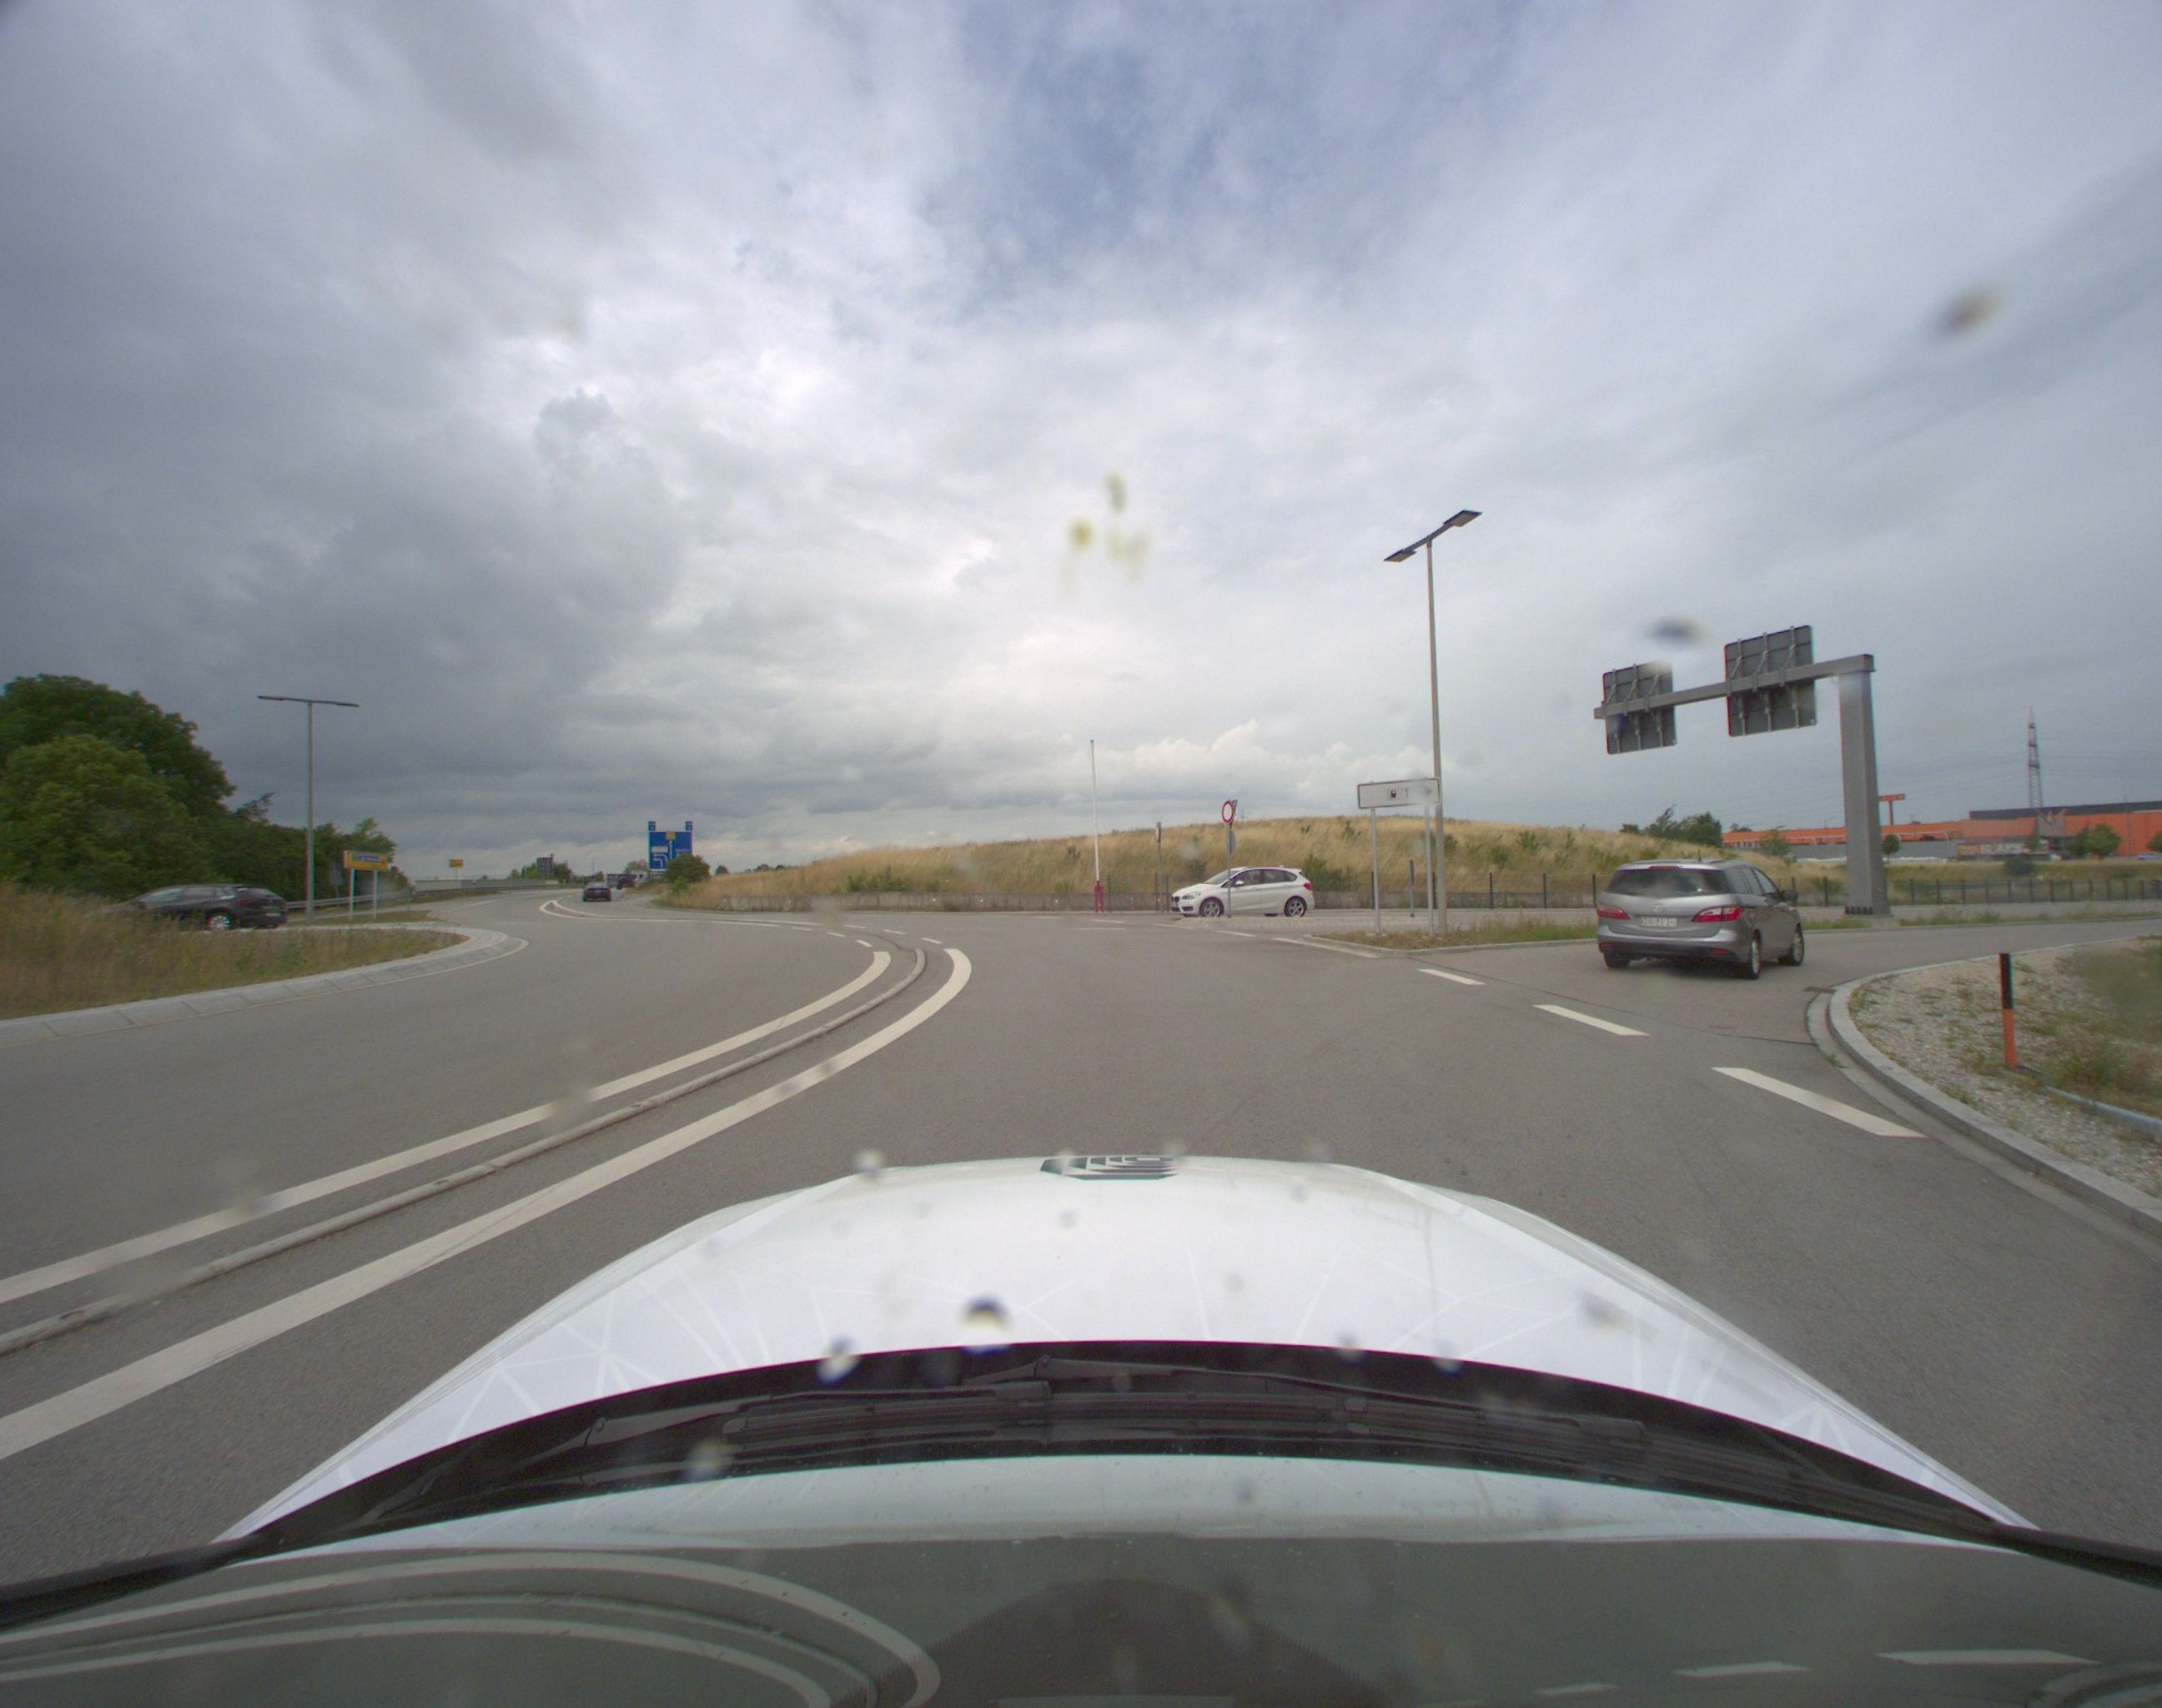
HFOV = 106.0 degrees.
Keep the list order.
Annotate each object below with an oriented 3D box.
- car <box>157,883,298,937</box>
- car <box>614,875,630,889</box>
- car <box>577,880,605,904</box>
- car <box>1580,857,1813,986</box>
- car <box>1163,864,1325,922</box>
[{"bbox_3d":[-24.921,1.579,23.763,3.950,1.378,1.677,-1,0,26],"label":"car"},{"bbox_3d":[-56.511,3.376,100.366,1.608,1.549,4.009,-2,1,-28],"label":"car"},{"bbox_3d":[-32.592,2.539,54.218,1.527,1.486,3.581,0,-2,-29],"label":"car"},{"bbox_3d":[9.127,0.867,11.972,4.020,1.574,1.895,1,-2,-40],"label":"car"},{"bbox_3d":[4.854,1.137,24.401,4.418,1.629,1.776,1,0,-13],"label":"car"}]
